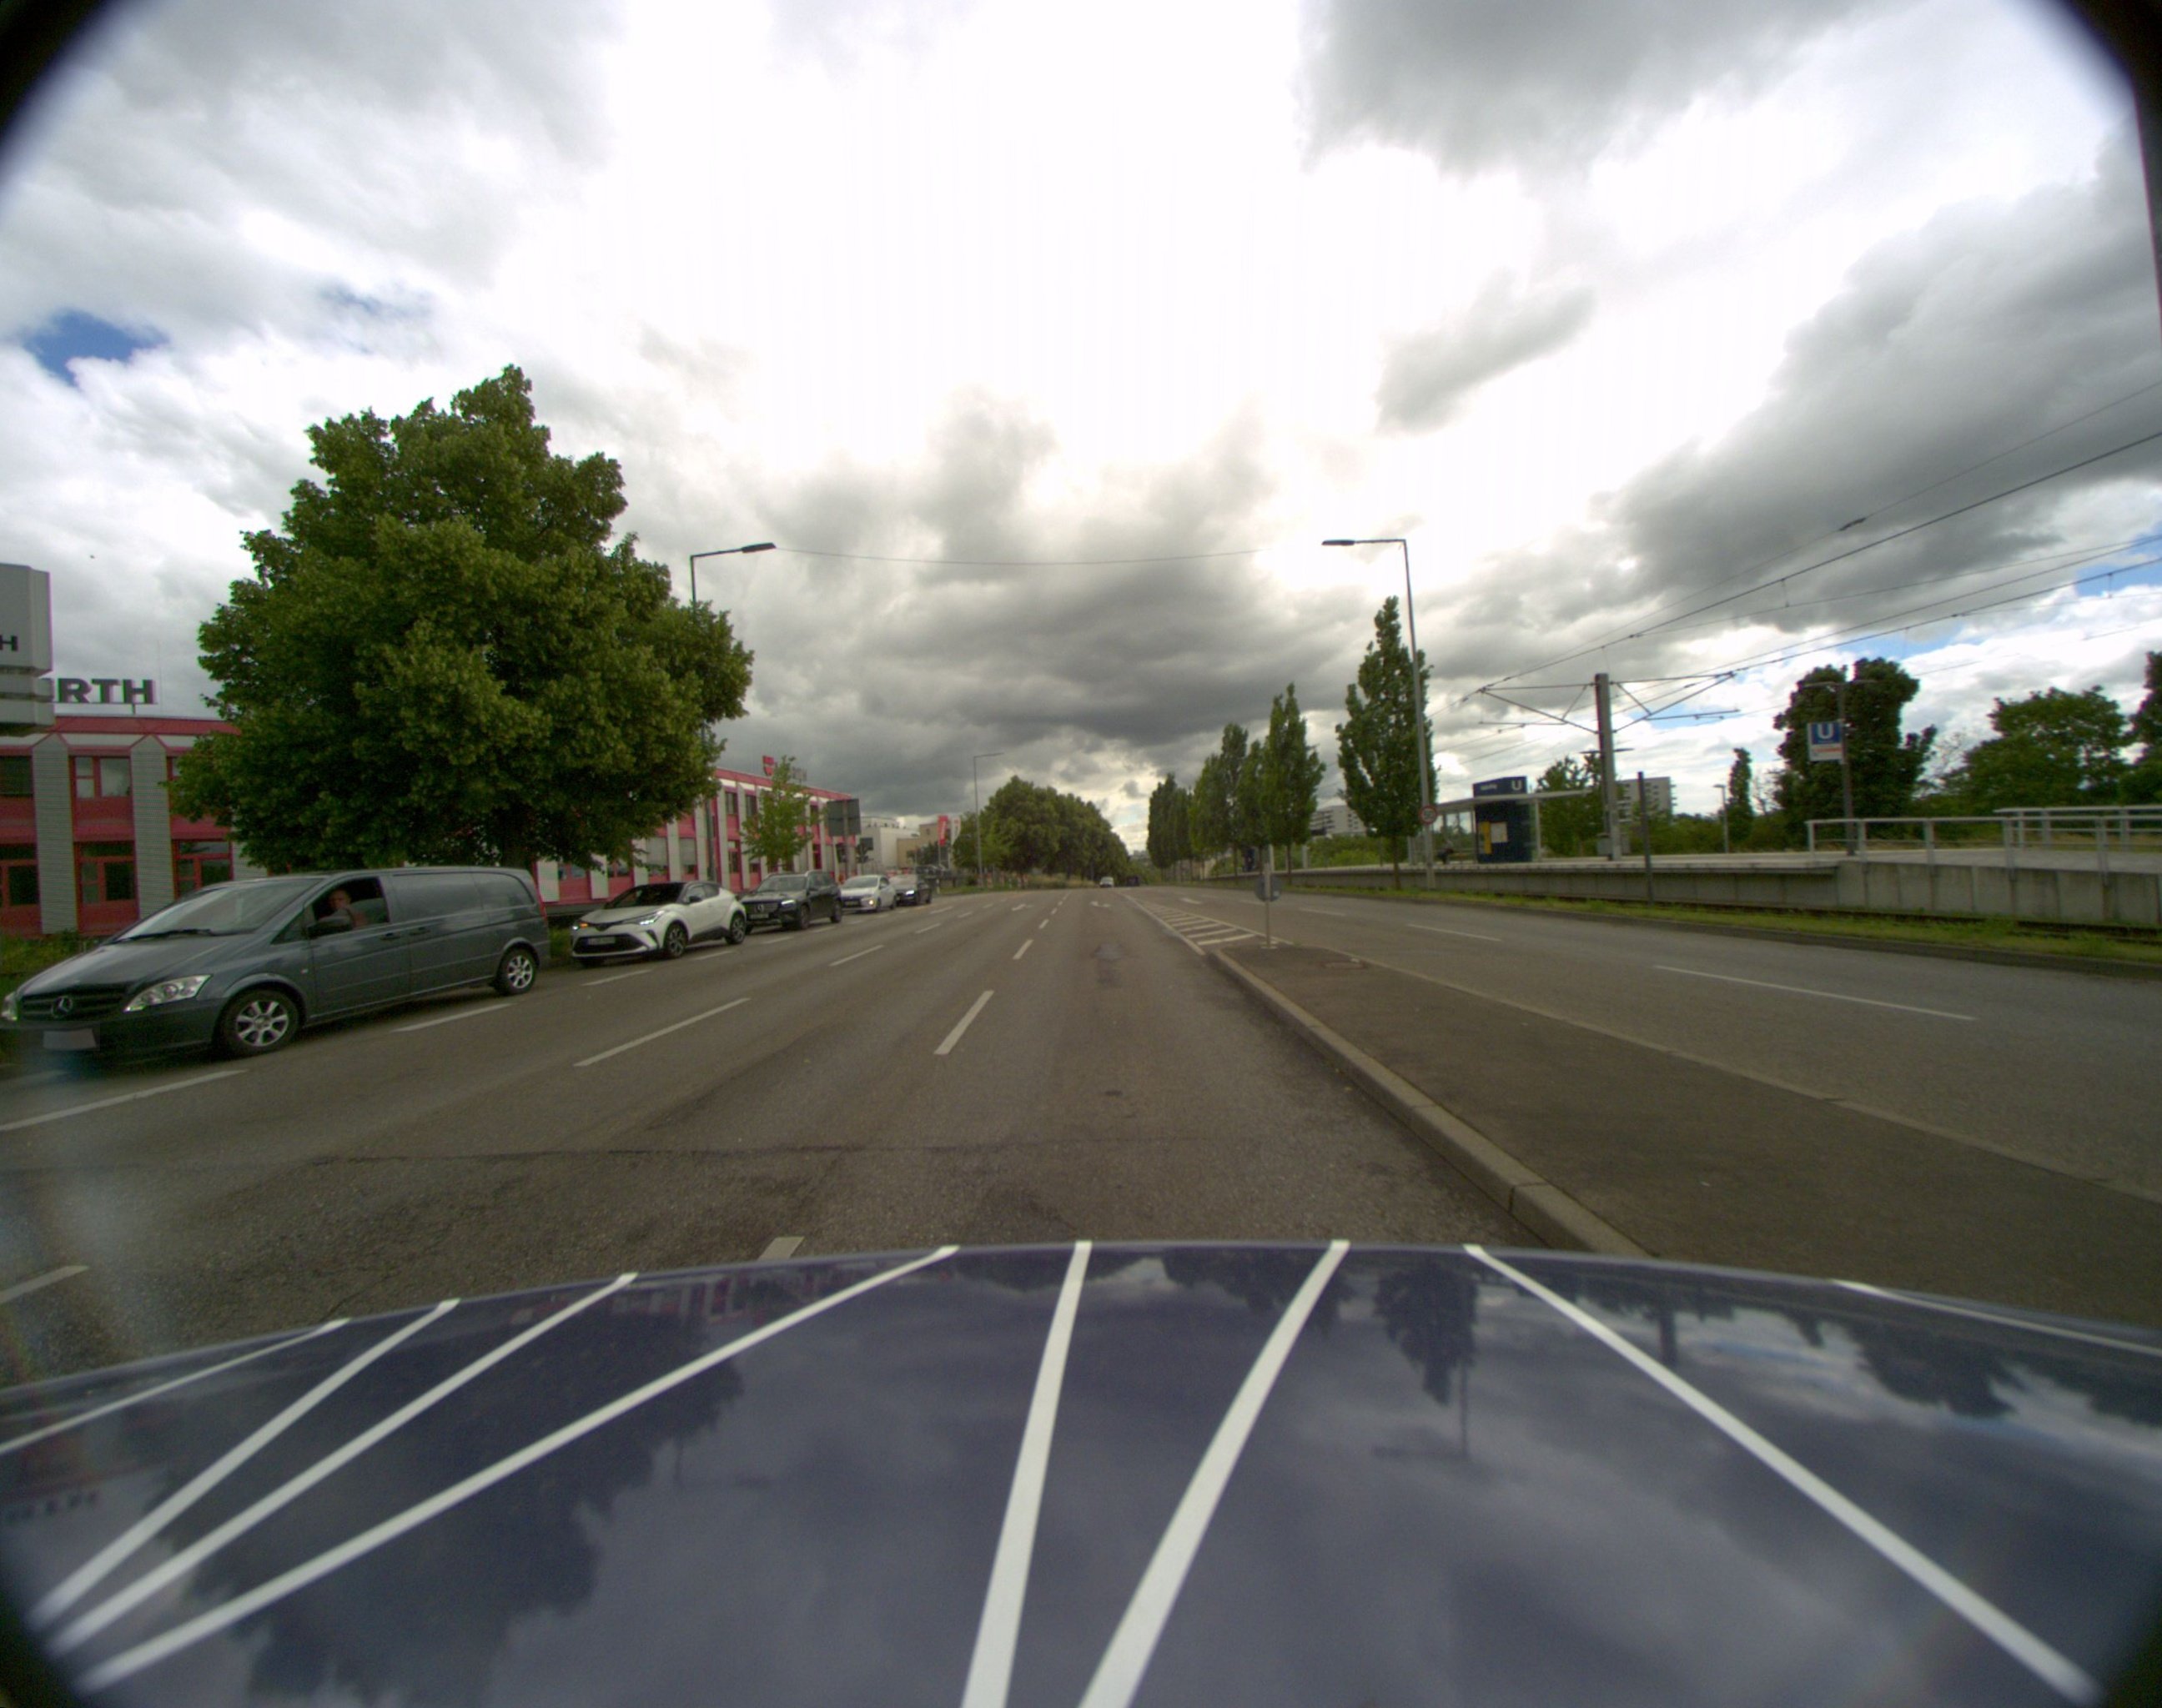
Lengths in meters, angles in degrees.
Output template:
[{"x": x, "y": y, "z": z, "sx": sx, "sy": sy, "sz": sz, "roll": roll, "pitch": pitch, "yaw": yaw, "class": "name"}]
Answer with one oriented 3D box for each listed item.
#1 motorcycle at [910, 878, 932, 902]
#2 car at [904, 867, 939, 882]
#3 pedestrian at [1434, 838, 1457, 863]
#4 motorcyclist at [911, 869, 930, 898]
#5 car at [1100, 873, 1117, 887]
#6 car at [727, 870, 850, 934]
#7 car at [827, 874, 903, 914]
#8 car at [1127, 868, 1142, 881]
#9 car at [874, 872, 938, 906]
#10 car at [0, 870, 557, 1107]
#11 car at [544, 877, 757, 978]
[{"x": -8.323, "y": 1.858, "z": 39.517, "sx": 0.750, "sy": 1.140, "sz": 1.943, "roll": -4, "pitch": -1, "yaw": -3, "class": "motorcycle"}, {"x": -21.216, "y": 2.682, "z": 101.010, "sx": 4.248, "sy": 1.744, "sz": 1.784, "roll": -2, "pitch": 0, "yaw": 2, "class": "car"}, {"x": 17.621, "y": -0.177, "z": 36.738, "sx": 0.663, "sy": 1.195, "sz": 0.782, "roll": -2, "pitch": 0, "yaw": -7, "class": "pedestrian"}, {"x": -8.344, "y": 1.527, "z": 39.550, "sx": 0.750, "sy": 1.481, "sz": 0.933, "roll": -4, "pitch": -1, "yaw": -3, "class": "motorcyclist"}, {"x": 4.165, "y": 3.818, "z": 112.784, "sx": 1.998, "sy": 1.791, "sz": 4.842, "roll": -2, "pitch": 0, "yaw": 8, "class": "car"}, {"x": -8.374, "y": 1.324, "z": 22.218, "sx": 1.785, "sy": 1.639, "sz": 4.427, "roll": -1, "pitch": -2, "yaw": 1, "class": "car"}, {"x": -8.473, "y": 1.551, "z": 30.111, "sx": 1.785, "sy": 1.434, "sz": 3.836, "roll": -1, "pitch": -2, "yaw": 1, "class": "car"}, {"x": 7.541, "y": 2.863, "z": 106.160, "sx": 1.869, "sy": 1.674, "sz": 4.843, "roll": -2, "pitch": -3, "yaw": 6, "class": "car"}, {"x": -8.021, "y": 1.587, "z": 35.211, "sx": 1.785, "sy": 1.437, "sz": 4.530, "roll": -1, "pitch": -2, "yaw": 1, "class": "car"}, {"x": -8.834, "y": 1.224, "z": 8.839, "sx": 1.920, "sy": 1.823, "sz": 4.722, "roll": -5, "pitch": 0, "yaw": 2, "class": "car"}, {"x": -8.562, "y": 1.377, "z": 15.645, "sx": 1.785, "sy": 1.526, "sz": 4.305, "roll": -5, "pitch": 0, "yaw": 0, "class": "car"}]
